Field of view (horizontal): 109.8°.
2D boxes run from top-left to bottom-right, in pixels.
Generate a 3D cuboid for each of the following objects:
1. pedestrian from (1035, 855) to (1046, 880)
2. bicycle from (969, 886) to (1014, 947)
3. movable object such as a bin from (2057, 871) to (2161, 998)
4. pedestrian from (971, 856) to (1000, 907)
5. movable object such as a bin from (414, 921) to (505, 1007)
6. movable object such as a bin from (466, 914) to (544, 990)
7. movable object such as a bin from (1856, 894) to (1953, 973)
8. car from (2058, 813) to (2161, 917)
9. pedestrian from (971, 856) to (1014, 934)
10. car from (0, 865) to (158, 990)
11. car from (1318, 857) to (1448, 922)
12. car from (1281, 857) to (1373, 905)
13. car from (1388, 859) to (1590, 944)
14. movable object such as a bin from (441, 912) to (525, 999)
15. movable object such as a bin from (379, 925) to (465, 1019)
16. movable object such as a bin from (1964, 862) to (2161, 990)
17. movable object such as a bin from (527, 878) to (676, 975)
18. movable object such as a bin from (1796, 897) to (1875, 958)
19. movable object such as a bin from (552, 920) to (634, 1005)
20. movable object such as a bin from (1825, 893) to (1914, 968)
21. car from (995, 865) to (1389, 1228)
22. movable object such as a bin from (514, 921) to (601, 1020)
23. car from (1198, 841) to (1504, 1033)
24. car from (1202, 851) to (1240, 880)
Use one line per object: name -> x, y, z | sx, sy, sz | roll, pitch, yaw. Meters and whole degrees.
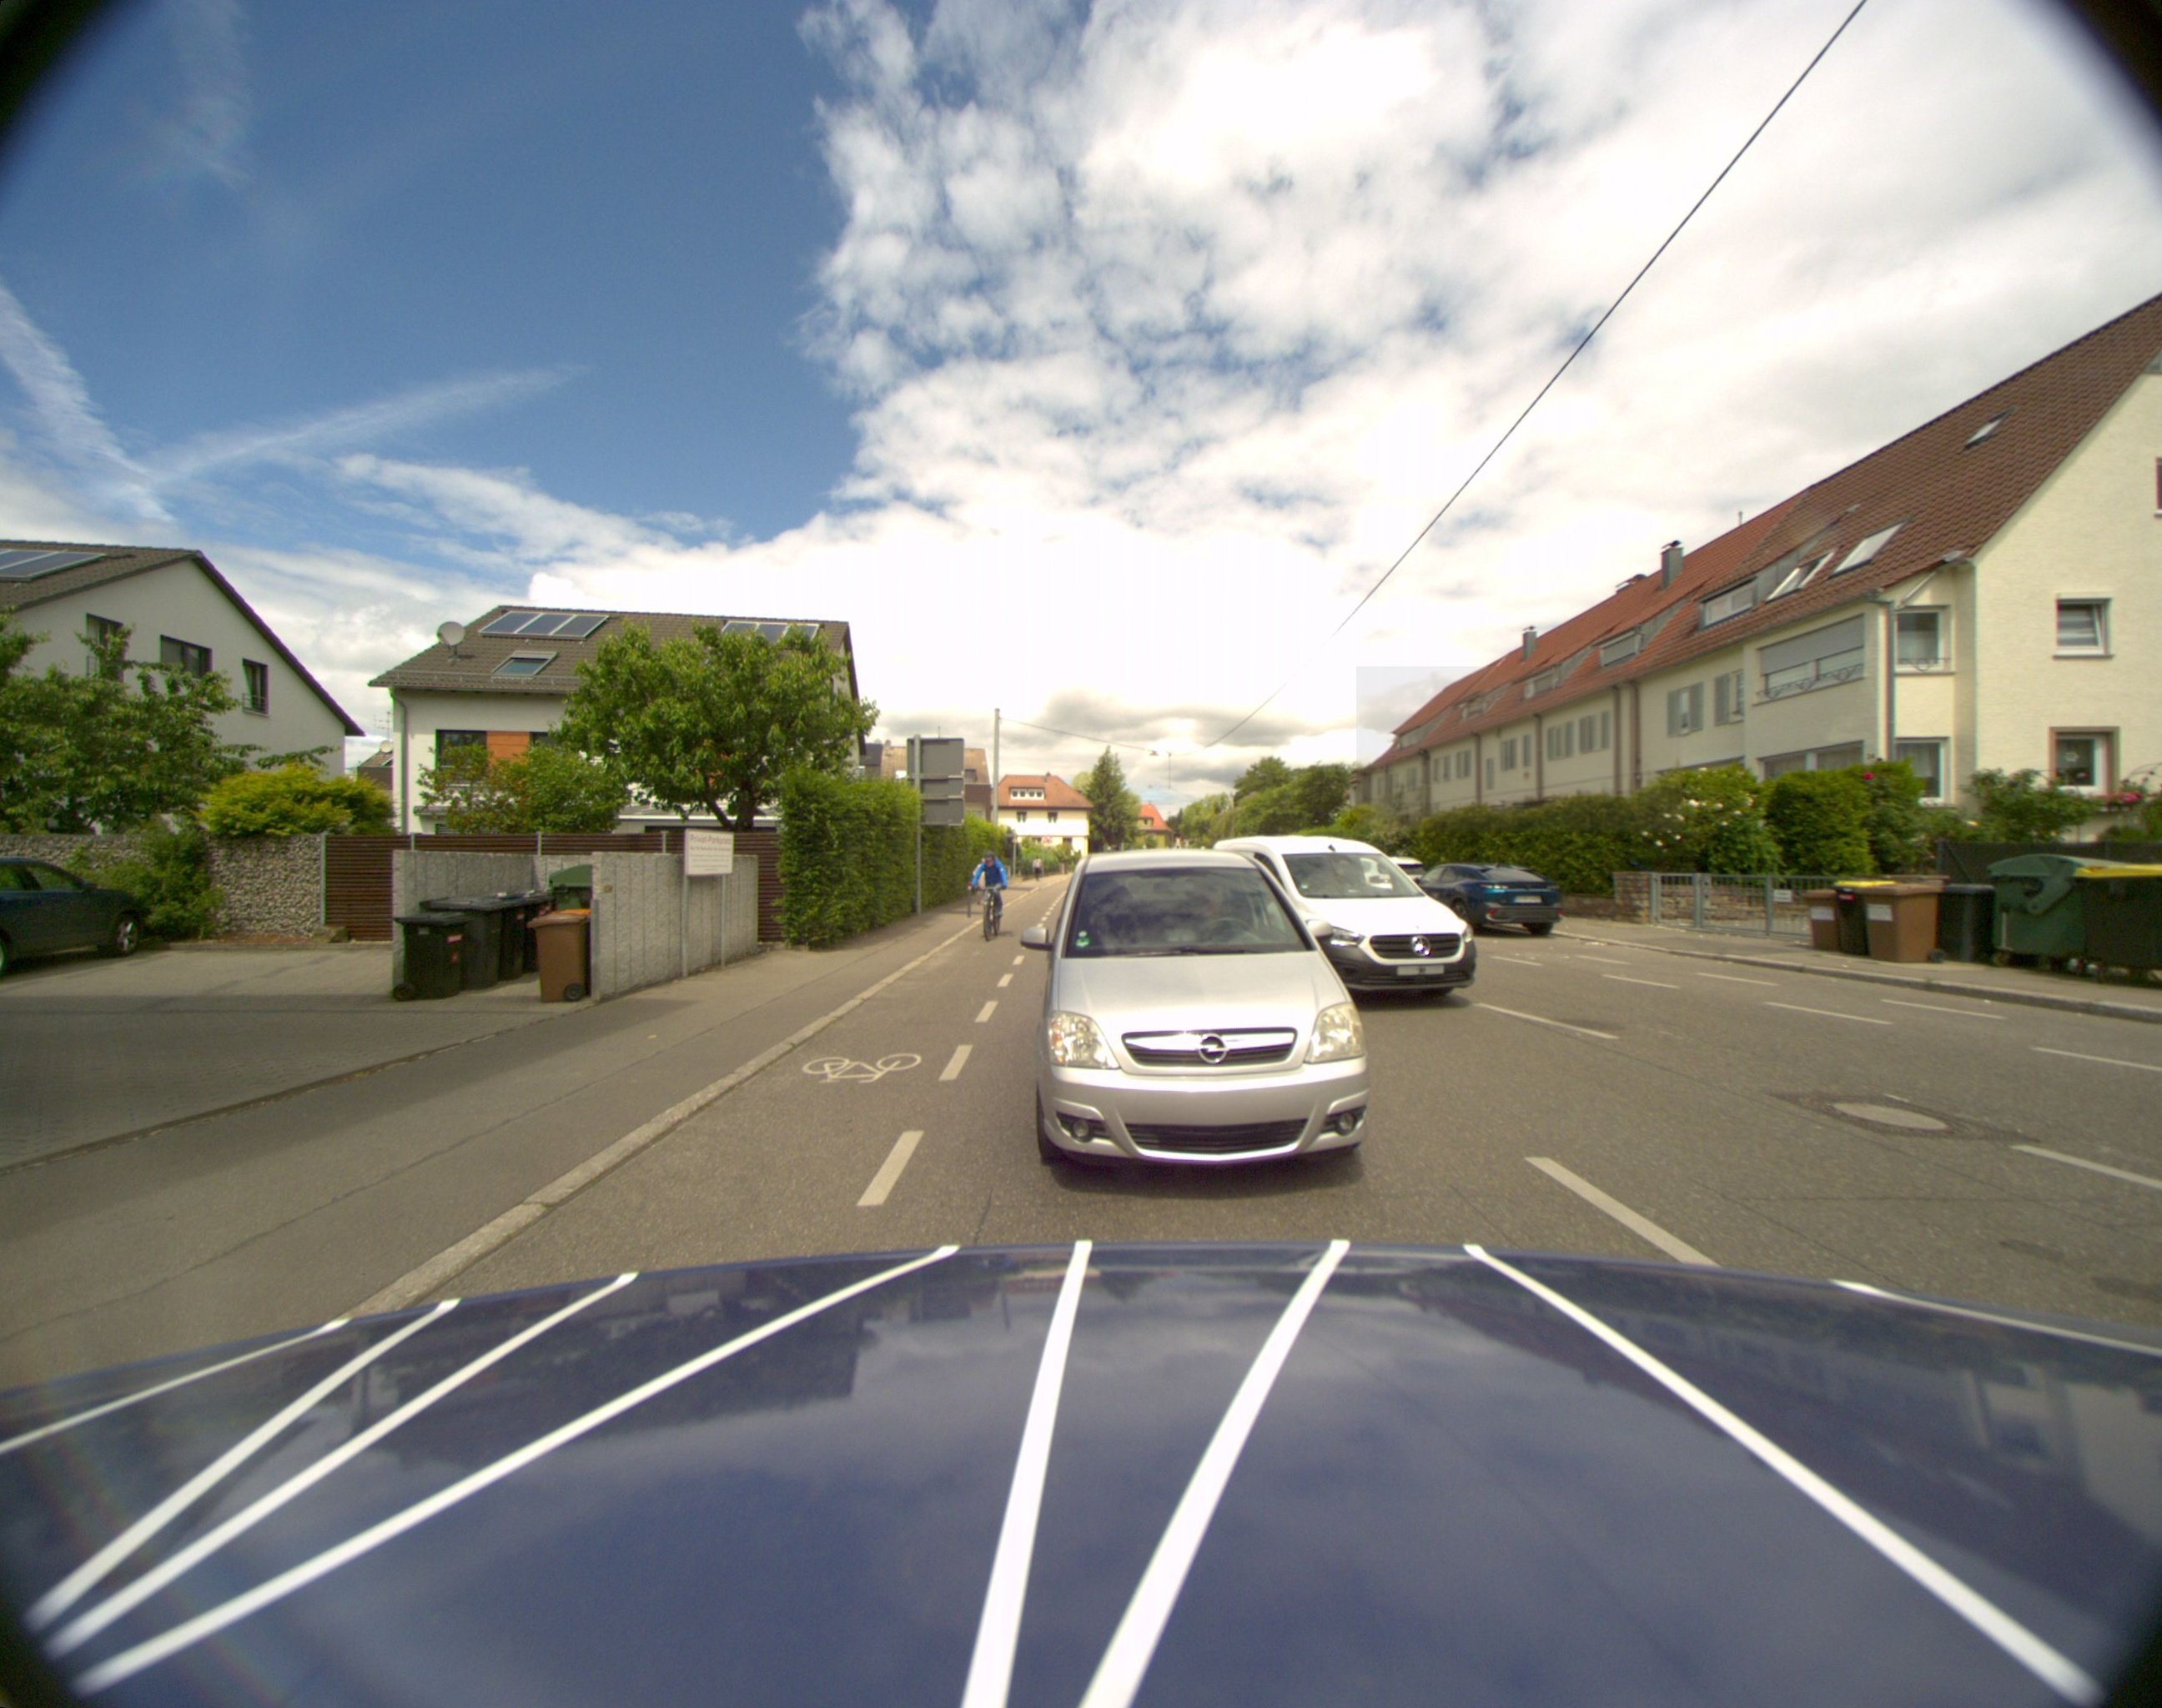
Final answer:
pedestrian -> -2.666, 0.895, 50.193 | 0.604, 1.596, 0.836 | 2, 1, 2
bicycle -> -1.789, 1.223, 15.487 | 0.536, 1.039, 2.409 | -1, 0, 2
movable object such as a bin -> 11.821, 0.850, 8.176 | 1.067, 1.305, 1.214 | 0, 0, 2
pedestrian -> -3.087, 0.868, 24.561 | 0.800, 1.608, 0.653 | 1, 1, 2
movable object such as a bin -> -7.138, 1.251, 8.750 | 0.635, 0.887, 0.539 | -1, 1, -16
movable object such as a bin -> -7.425, 1.253, 9.816 | 0.635, 0.887, 0.539 | -1, 1, -16
movable object such as a bin -> 11.140, 1.063, 10.298 | 0.597, 1.001, 0.658 | 0, 0, 1
car -> 19.502, 0.132, 12.703 | 3.997, 1.696, 1.803 | -1, 0, 0
pedestrian -> -1.769, 0.812, 15.301 | 0.736, 1.508, 0.872 | -1, 1, 1
car -> -14.690, 0.937, 9.980 | 1.790, 1.527, 3.789 | 0, 0, -25
car -> 8.486, 0.925, 21.812 | 1.998, 1.641, 4.517 | 0, 0, 1
car -> 8.666, 0.899, 27.238 | 1.998, 1.555, 4.690 | 0, 0, 3
car -> 8.727, 0.922, 16.802 | 1.999, 1.578, 4.488 | 0, 0, -1
movable object such as a bin -> -7.289, 1.216, 9.282 | 0.629, 0.962, 0.539 | -1, 1, -16
movable object such as a bin -> -7.081, 1.252, 8.184 | 0.494, 0.907, 0.539 | -1, 1, -16
movable object such as a bin -> 12.192, 0.842, 9.418 | 1.068, 1.473, 1.214 | 0, 0, -1
movable object such as a bin -> -6.928, 1.011, 11.105 | 1.192, 1.255, 1.535 | -1, 0, -2
movable object such as a bin -> 11.523, 1.108, 11.618 | 0.597, 0.874, 0.614 | 0, 0, 1
movable object such as a bin -> -5.718, 1.258, 8.936 | 0.533, 0.887, 0.679 | -1, 0, -5
movable object such as a bin -> 11.363, 1.086, 10.964 | 0.597, 1.018, 0.658 | 0, 0, 1
car -> 0.648, 0.903, 5.556 | 1.707, 1.531, 4.332 | -2, 0, 4
movable object such as a bin -> -5.613, 1.229, 8.176 | 0.534, 0.945, 0.686 | -1, 0, -13
car -> 2.872, 0.761, 9.184 | 1.781, 1.760, 4.186 | -1, 0, -7
car -> 9.893, 0.747, 54.125 | 1.998, 1.884, 5.405 | 2, 0, 4
